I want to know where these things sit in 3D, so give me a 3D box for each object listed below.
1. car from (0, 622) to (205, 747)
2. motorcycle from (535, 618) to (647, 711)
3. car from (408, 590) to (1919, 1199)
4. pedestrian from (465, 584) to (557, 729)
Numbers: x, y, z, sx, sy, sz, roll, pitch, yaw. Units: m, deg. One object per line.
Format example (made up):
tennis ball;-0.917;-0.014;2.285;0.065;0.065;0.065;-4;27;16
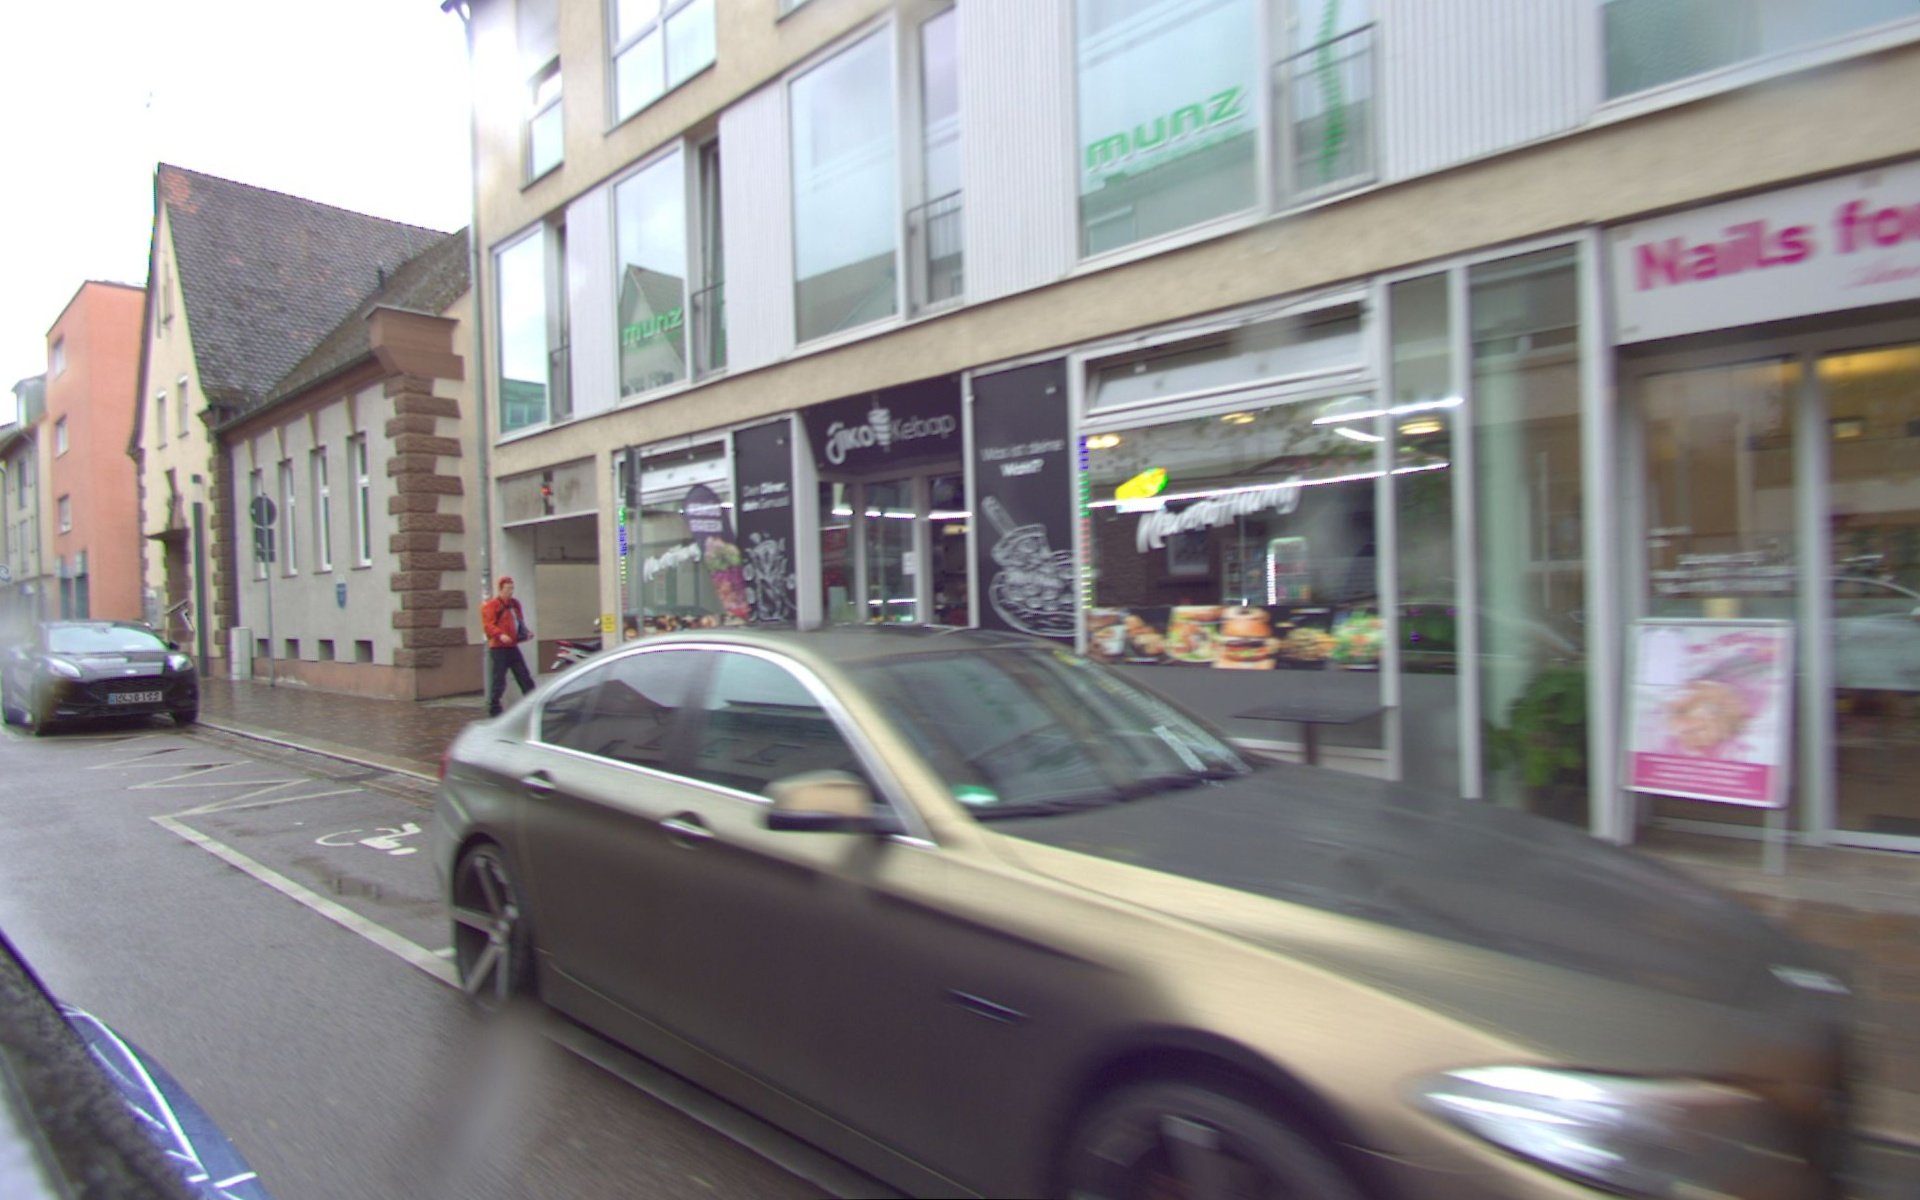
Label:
car;-12.656;1.131;14.751;3.926;1.537;1.718;-2;0;39
motorcycle;-5.561;0.944;15.307;0.536;1.300;1.490;-2;-1;41
car;-0.003;0.747;3.201;4.482;1.366;1.737;-2;0;43
pedestrian;-5.809;0.703;13.130;0.991;1.790;0.553;-2;1;-23
